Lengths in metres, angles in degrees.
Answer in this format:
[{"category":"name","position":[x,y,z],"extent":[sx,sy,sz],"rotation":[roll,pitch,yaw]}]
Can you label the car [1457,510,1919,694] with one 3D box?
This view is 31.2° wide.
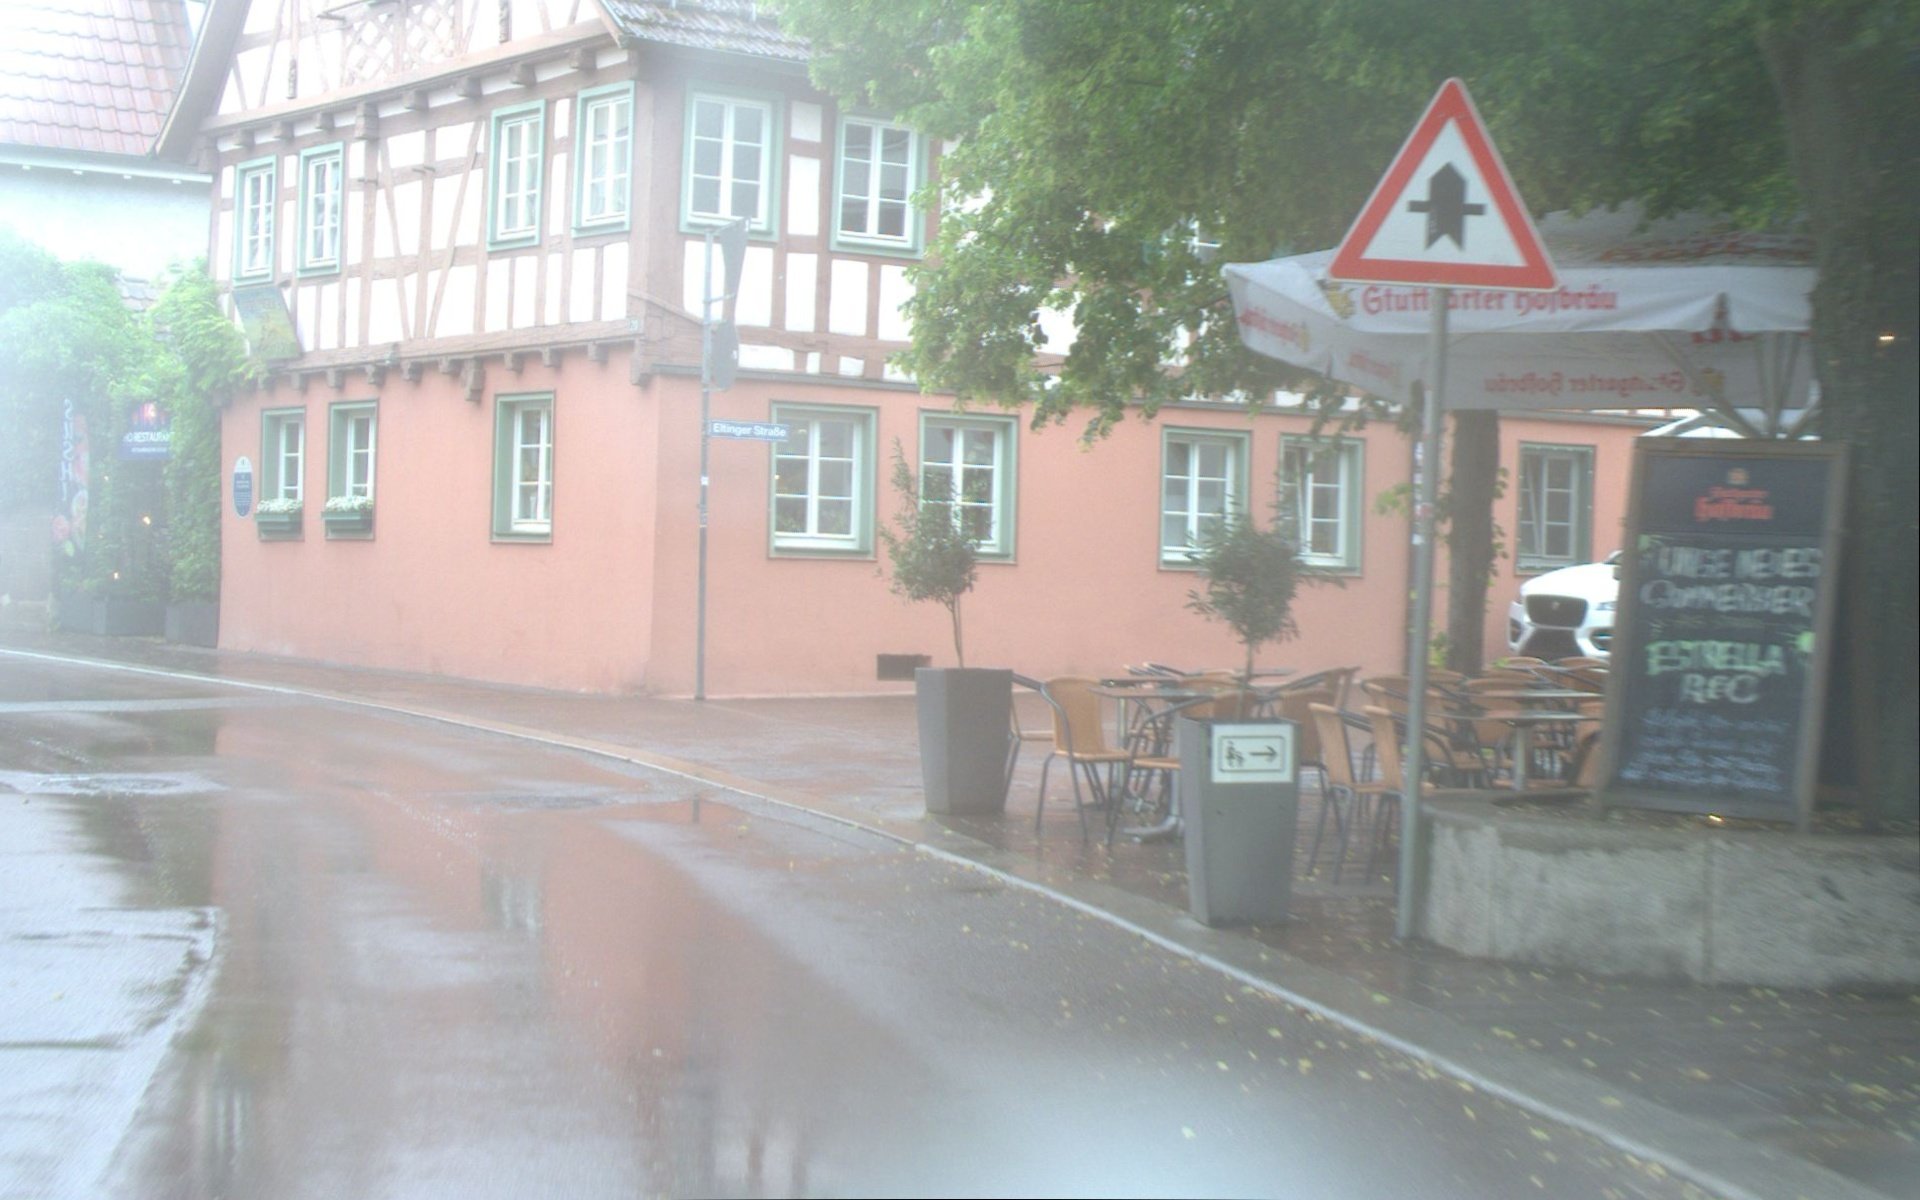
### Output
[{"category":"car","position":[7.311,-0.006,33.790],"extent":[4.601,1.627,2.000],"rotation":[0,3,-34]}]
